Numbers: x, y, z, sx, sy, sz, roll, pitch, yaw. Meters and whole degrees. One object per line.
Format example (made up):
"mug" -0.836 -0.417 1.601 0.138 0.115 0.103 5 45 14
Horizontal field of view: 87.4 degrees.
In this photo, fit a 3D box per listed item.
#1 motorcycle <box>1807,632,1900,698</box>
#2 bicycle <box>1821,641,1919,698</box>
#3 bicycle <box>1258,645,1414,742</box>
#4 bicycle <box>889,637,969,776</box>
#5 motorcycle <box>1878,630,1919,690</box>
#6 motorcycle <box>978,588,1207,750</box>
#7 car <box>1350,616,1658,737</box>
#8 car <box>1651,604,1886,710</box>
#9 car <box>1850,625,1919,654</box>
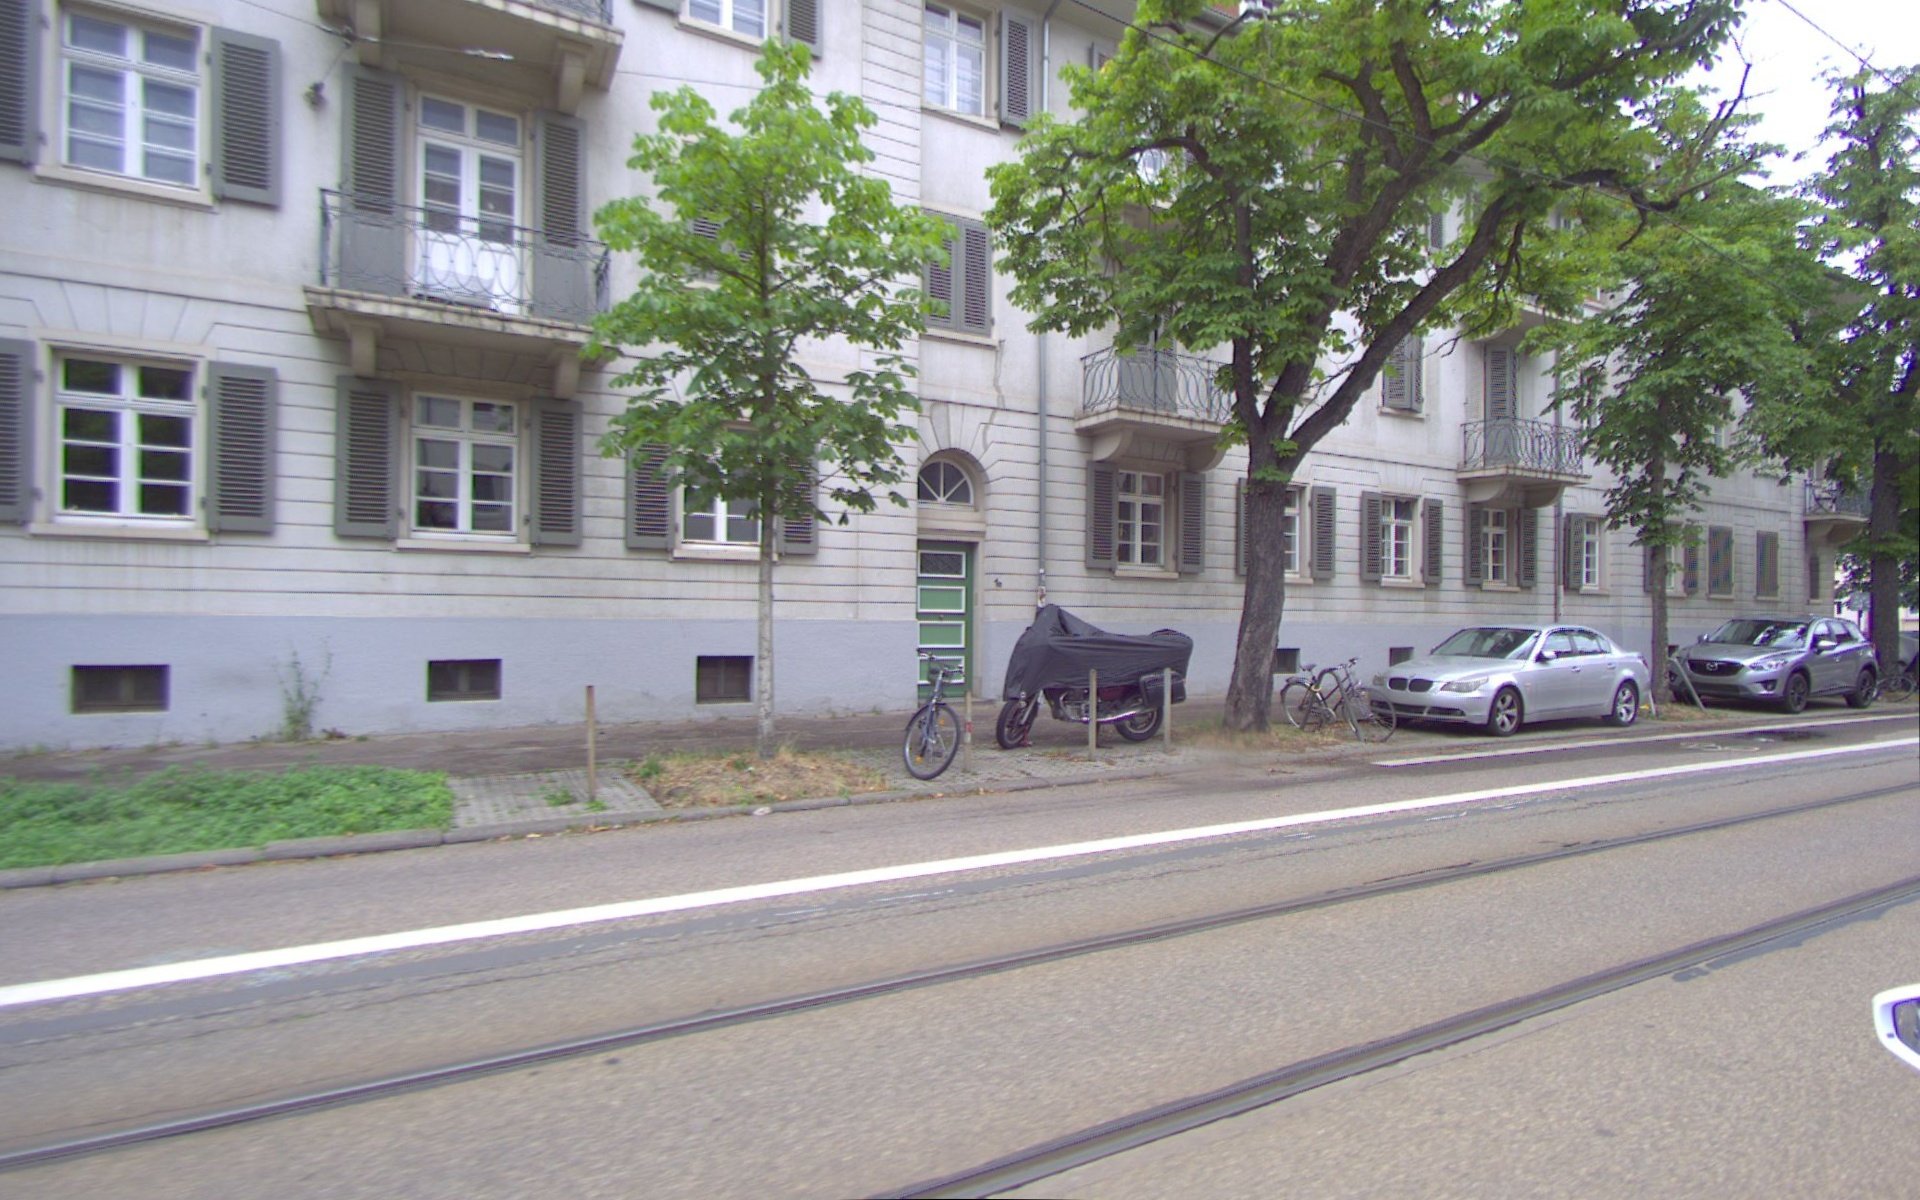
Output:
"motorcycle" 17.901 1.288 20.150 0.540 1.238 1.282 1 0 -23
"bicycle" 18.674 1.394 20.511 0.917 1.018 1.372 1 2 -25
"bicycle" 4.730 1.148 12.771 0.558 1.041 1.883 1 0 -33
"bicycle" -0.339 0.986 9.870 0.509 1.144 1.744 0 1 -11
"motorcycle" 21.048 1.316 22.343 2.122 1.274 0.536 1 -1 -36
"motorcycle" 1.484 0.735 11.197 2.443 1.665 0.831 1 -1 -22
"car" 7.854 0.989 14.399 4.560 1.485 1.803 1 0 -31
"car" 14.760 0.973 18.308 4.240 1.683 1.829 1 1 -29
"car" 50.517 2.117 53.973 1.674 1.483 3.941 0 -1 -6
